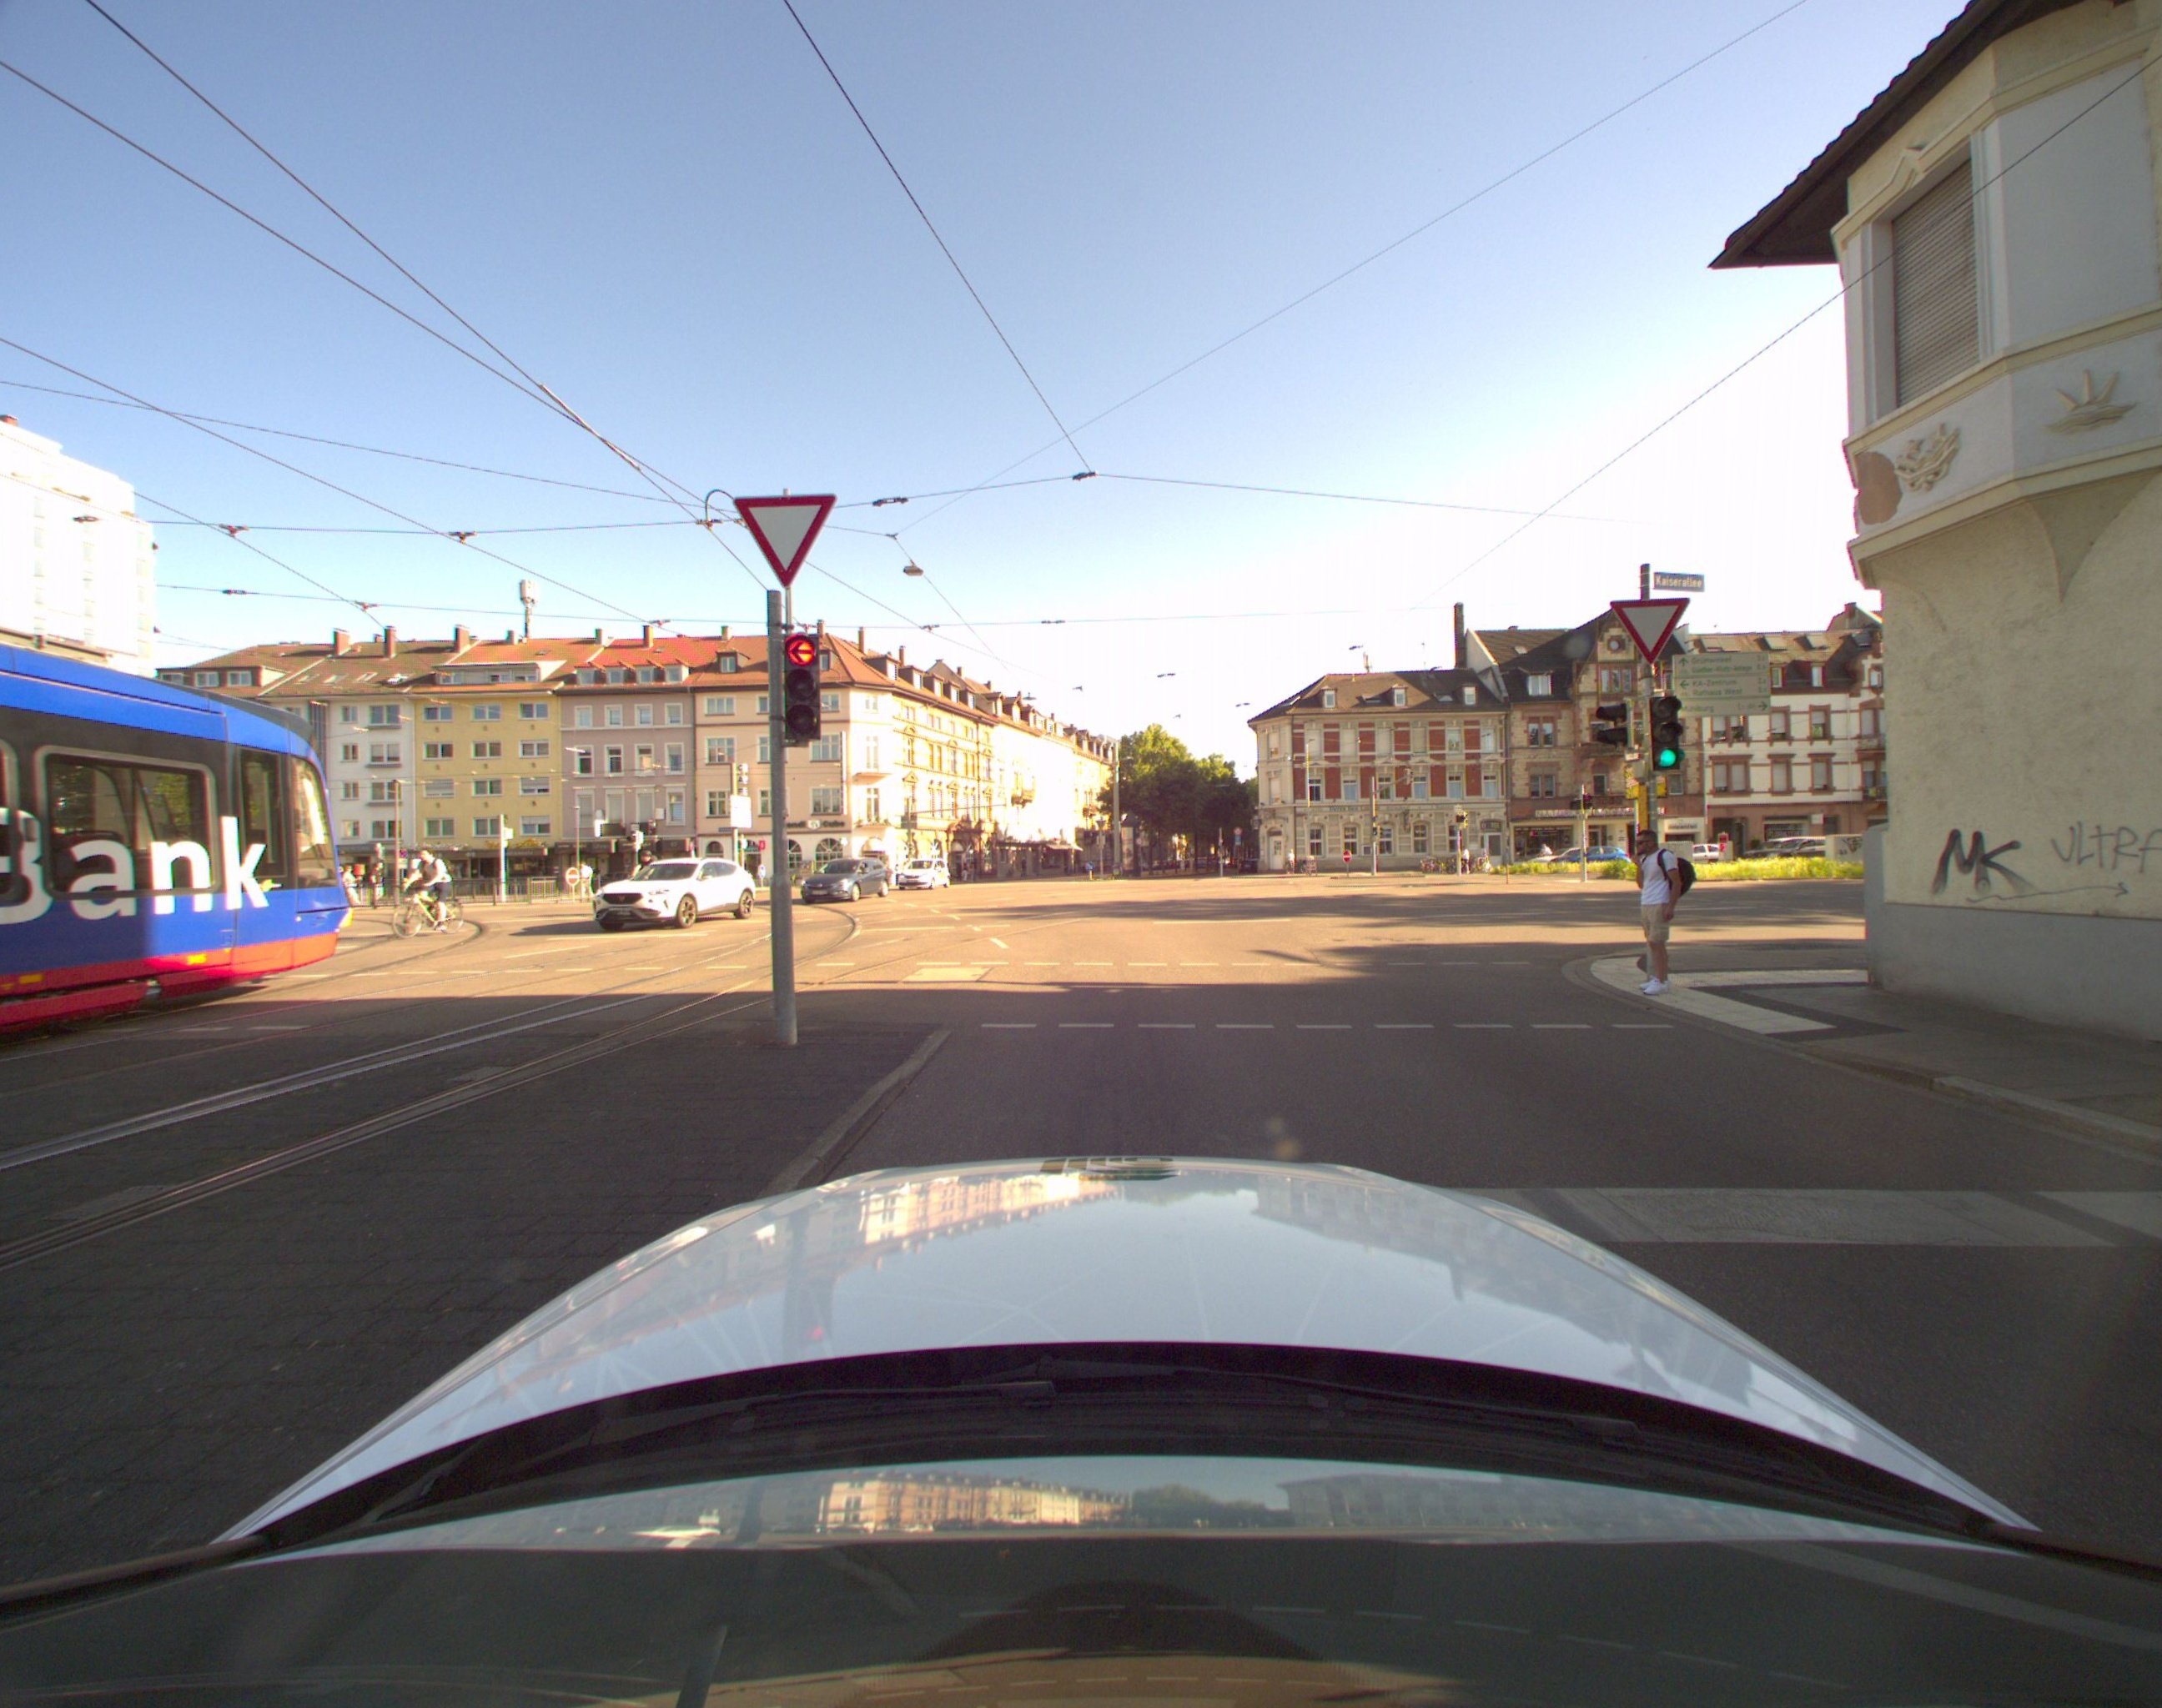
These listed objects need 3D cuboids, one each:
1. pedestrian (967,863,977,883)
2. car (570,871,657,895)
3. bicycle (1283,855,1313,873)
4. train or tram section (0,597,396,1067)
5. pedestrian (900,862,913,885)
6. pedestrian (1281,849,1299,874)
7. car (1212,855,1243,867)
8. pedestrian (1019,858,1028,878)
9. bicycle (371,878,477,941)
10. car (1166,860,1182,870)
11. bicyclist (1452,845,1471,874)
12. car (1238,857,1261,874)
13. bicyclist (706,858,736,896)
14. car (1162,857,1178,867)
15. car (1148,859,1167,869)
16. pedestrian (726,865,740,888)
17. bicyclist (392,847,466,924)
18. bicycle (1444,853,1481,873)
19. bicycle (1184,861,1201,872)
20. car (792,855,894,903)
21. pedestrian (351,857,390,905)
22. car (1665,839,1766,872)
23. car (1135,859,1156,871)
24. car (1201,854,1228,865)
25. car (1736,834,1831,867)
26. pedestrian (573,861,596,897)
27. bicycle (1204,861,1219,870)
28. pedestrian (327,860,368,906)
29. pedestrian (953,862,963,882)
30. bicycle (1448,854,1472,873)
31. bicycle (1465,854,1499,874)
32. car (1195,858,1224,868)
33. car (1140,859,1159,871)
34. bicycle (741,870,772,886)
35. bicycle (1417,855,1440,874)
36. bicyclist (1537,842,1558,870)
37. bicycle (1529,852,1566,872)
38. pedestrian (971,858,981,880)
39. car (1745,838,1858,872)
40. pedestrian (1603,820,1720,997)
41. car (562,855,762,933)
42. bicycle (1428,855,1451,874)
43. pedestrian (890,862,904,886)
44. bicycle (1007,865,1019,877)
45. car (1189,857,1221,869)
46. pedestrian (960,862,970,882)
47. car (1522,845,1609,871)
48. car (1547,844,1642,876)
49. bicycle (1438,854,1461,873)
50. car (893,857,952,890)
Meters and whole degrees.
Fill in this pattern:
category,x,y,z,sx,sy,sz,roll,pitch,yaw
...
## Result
category,x,y,z,sx,sy,sz,roll,pitch,yaw
pedestrian,-9.000,1.599,67.263,0.546,1.642,0.636,-2,0,18
car,-30.697,1.899,53.524,4.626,1.440,1.743,-1,-1,-1
bicycle,15.192,0.712,56.954,1.950,1.191,0.547,-2,0,6
train or tram section,-9.559,-0.151,4.562,3.056,3.613,12.071,-1,0,-10
pedestrian,-12.351,1.372,57.662,0.626,1.642,0.554,-2,0,15
pedestrian,14.419,0.527,56.121,0.927,1.669,0.722,-2,-1,44
car,20.892,1.003,116.183,3.948,1.545,2.013,-2,0,32
pedestrian,-5.607,1.391,79.735,0.676,1.908,0.636,-2,0,18
bicycle,-13.738,1.131,17.109,0.483,1.166,2.057,-1,0,2
car,15.564,1.877,136.342,1.978,1.497,4.051,-2,0,16
bicyclist,23.601,0.327,50.500,0.869,1.764,0.602,-2,0,4
car,17.019,1.143,82.160,1.978,1.497,4.051,-2,0,16
bicyclist,-13.065,0.820,29.574,0.600,1.340,0.899,-1,0,7
car,14.436,1.355,131.959,1.978,1.497,4.051,-2,0,16
car,11.521,1.473,122.499,1.978,1.497,4.051,-2,0,16
pedestrian,-23.604,1.549,55.282,0.656,1.524,0.695,-1,0,-1
bicyclist,-13.737,0.639,17.183,0.712,1.559,0.987,-1,0,2
bicycle,23.644,0.577,50.501,1.952,1.191,0.602,-2,0,4
bicycle,11.336,1.280,82.638,0.586,1.067,1.928,-1,0,-34
car,-8.172,0.814,28.438,1.765,1.497,4.581,-2,0,6
pedestrian,-26.172,0.981,30.005,0.797,1.733,0.653,-1,0,-2
car,34.808,0.083,44.758,3.973,1.668,1.955,-2,0,1
car,8.937,1.552,112.832,1.978,1.497,4.051,-2,0,16
car,21.931,0.899,134.089,3.949,1.545,2.012,-2,0,30
car,45.239,-0.200,52.491,4.388,1.965,1.955,-2,0,1
pedestrian,-23.076,1.163,37.844,0.663,1.627,0.732,-2,-1,41
bicycle,15.877,1.354,99.032,0.586,1.067,1.928,-1,0,-34
pedestrian,-28.311,1.115,31.446,0.818,1.733,0.789,-1,0,2
pedestrian,-10.145,1.499,67.273,0.622,1.642,0.540,-2,0,20
bicycle,24.524,0.595,52.731,0.674,1.191,1.969,-1,0,3
bicycle,25.748,0.632,52.303,1.961,1.191,0.677,-1,0,-10
car,20.205,1.441,128.003,3.949,1.545,2.012,-2,0,30
car,9.908,1.581,117.298,1.978,1.497,4.051,-2,0,16
bicycle,-22.813,1.690,57.297,1.940,1.067,0.582,-1,0,-6
bicycle,22.500,0.639,52.760,0.674,1.191,1.969,-1,0,3
bicyclist,29.167,0.130,50.896,0.901,1.764,0.601,-1,0,-4
bicycle,29.163,0.489,50.891,1.956,1.191,0.601,-1,0,-4
pedestrian,-8.794,1.228,68.474,0.575,1.836,0.636,-2,0,18
car,39.464,0.061,44.697,4.456,1.668,1.955,-2,0,1
pedestrian,6.084,0.550,8.547,0.692,1.740,0.667,-4,-1,-32
car,-9.214,0.808,18.393,1.984,1.497,4.352,-2,0,4
bicycle,23.202,0.649,52.769,0.674,1.191,1.969,-1,0,3
pedestrian,-12.735,1.375,56.315,0.670,1.642,0.581,-2,0,15
bicycle,-6.705,1.674,79.863,0.491,1.067,1.778,-2,0,18
car,17.534,1.303,115.420,3.949,1.545,2.012,-2,0,30
pedestrian,-9.603,1.484,67.336,0.546,1.642,0.540,-2,0,17
car,28.513,0.252,48.016,3.973,1.412,1.846,-2,0,1
car,28.321,0.330,45.023,3.973,1.668,1.955,-2,0,1
bicycle,23.851,0.616,52.754,0.674,1.191,1.969,-1,0,3
car,-7.604,0.910,39.409,1.708,1.497,3.591,-2,0,8
